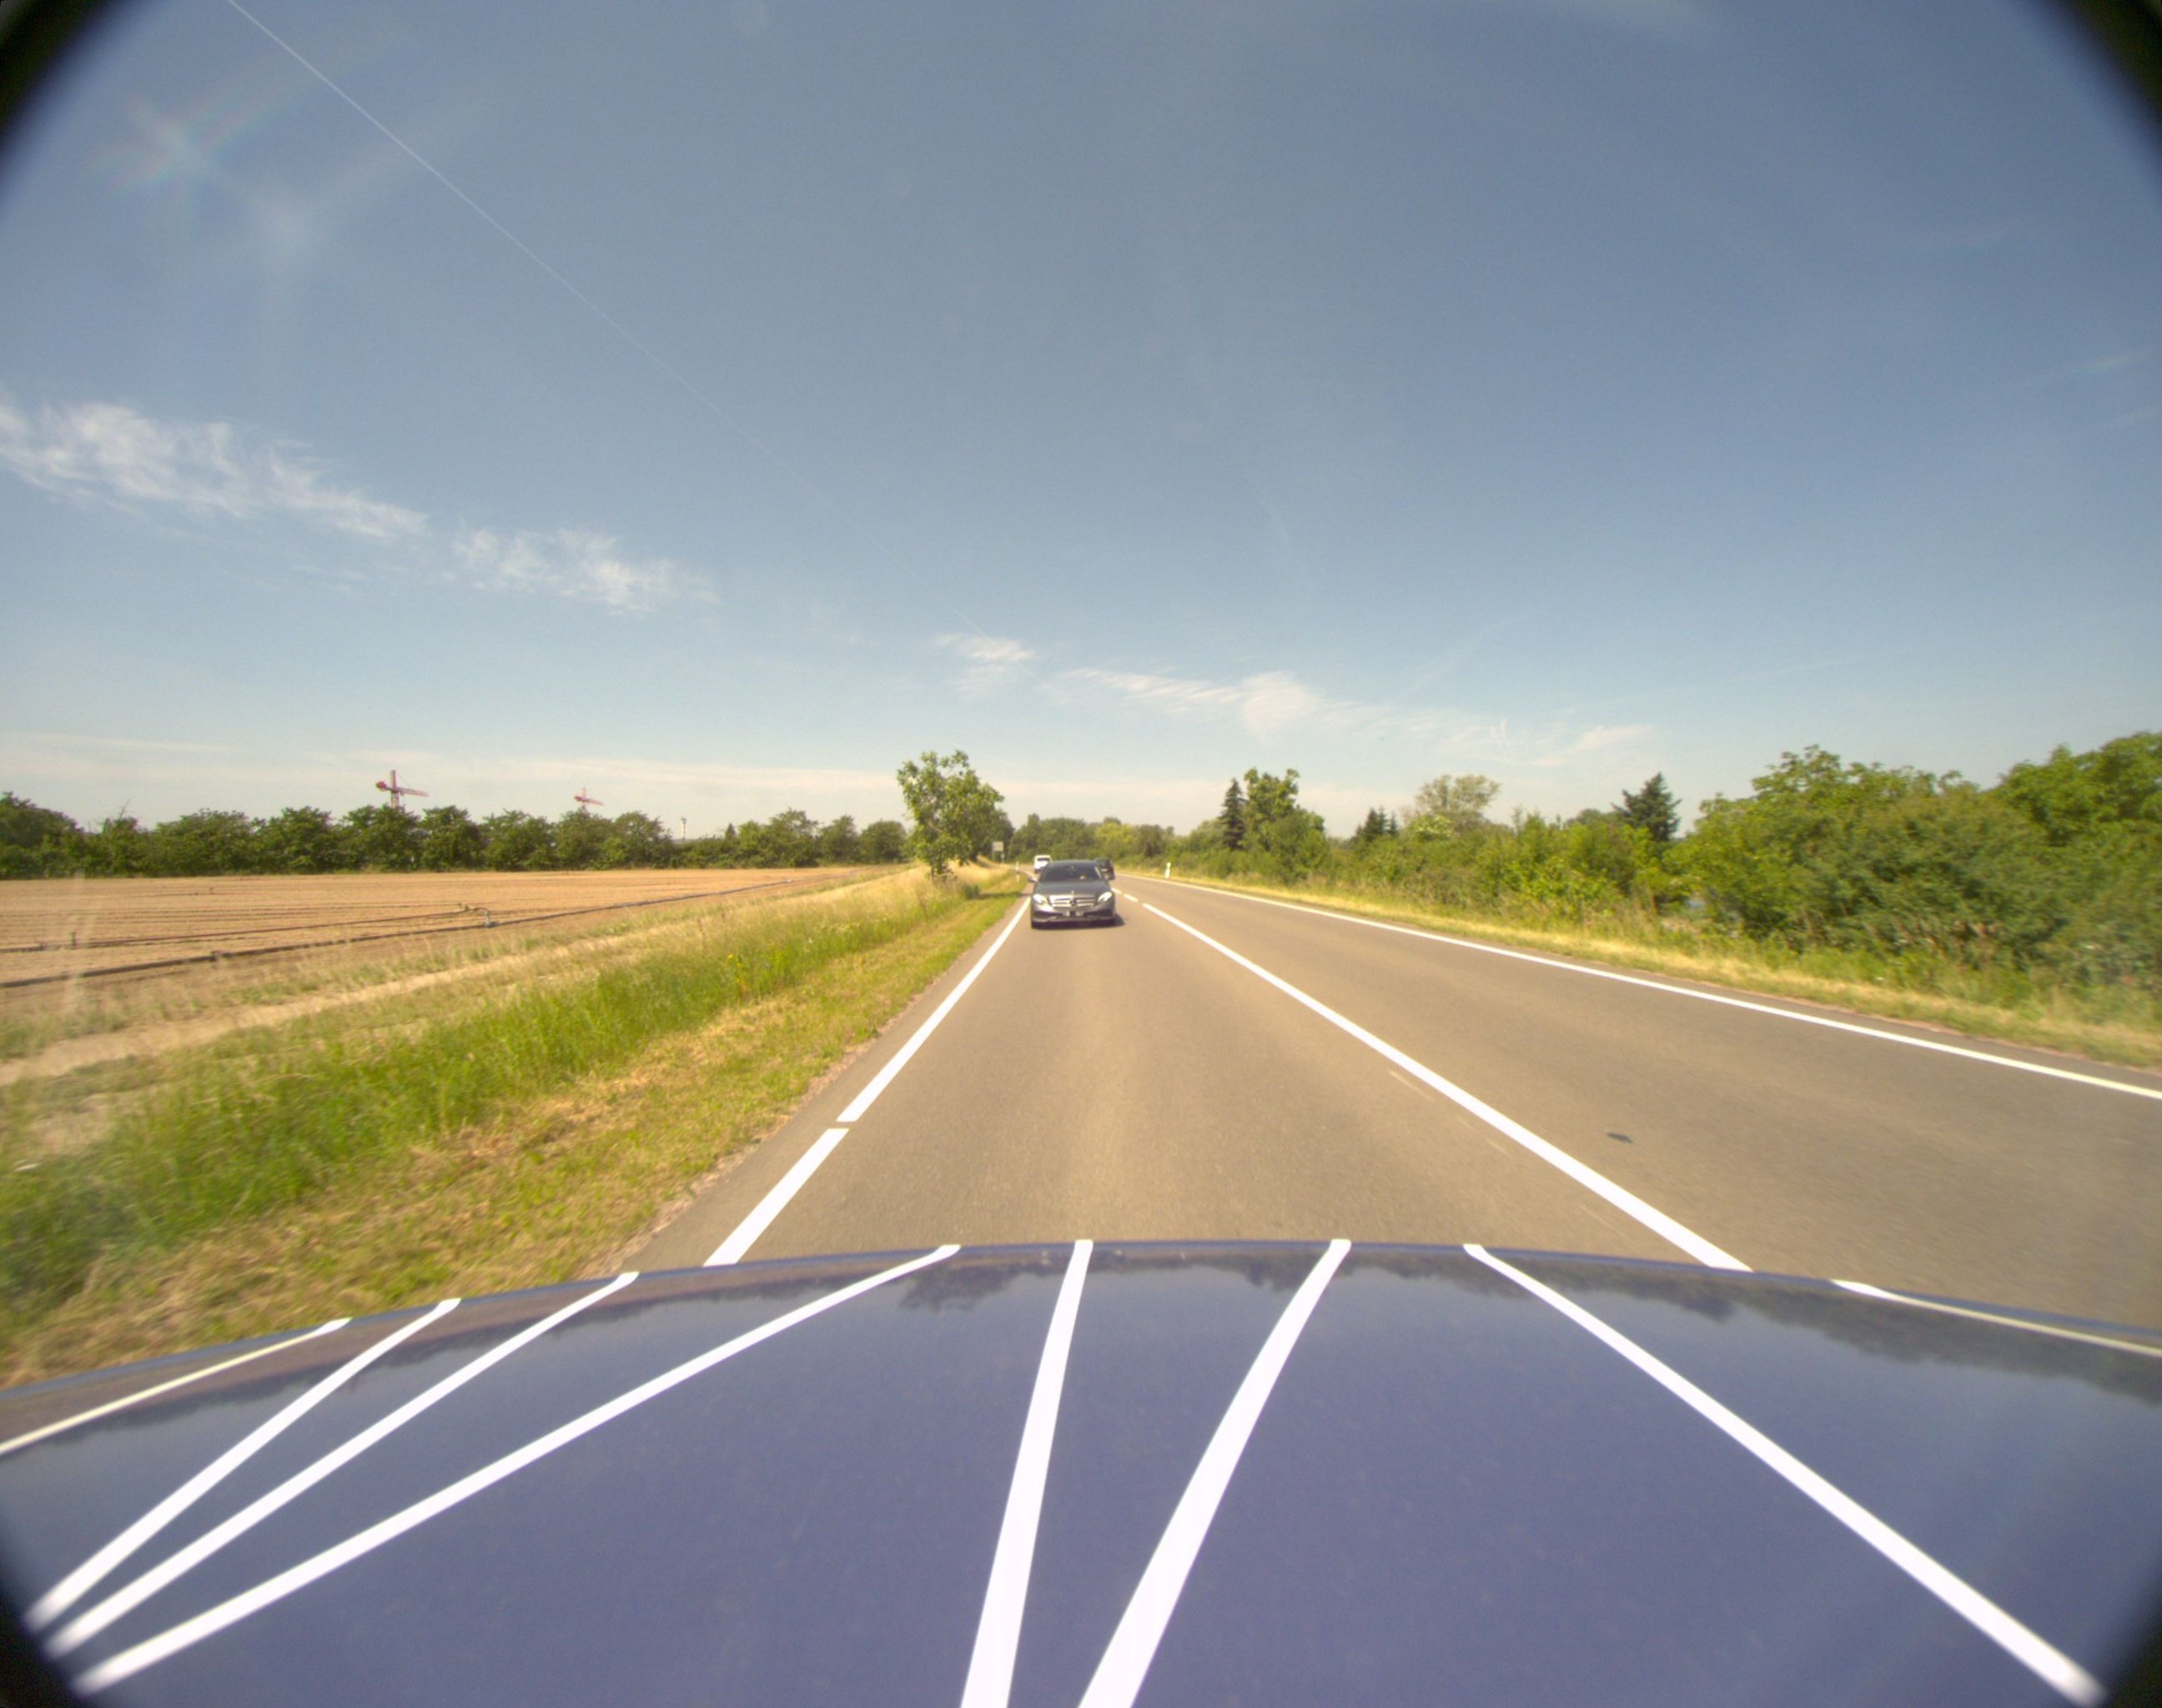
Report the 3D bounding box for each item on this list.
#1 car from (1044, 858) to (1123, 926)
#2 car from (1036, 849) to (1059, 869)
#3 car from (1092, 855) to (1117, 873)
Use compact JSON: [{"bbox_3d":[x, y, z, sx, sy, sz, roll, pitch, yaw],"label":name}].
[{"bbox_3d":[-0.026,0.899,20.160,1.832,1.540,4.497,-2,0,-2],"label":"car"},{"bbox_3d":[-3.670,0.534,82.634,2.180,2.002,5.023,-3,0,-5],"label":"car"},{"bbox_3d":[1.922,0.843,63.596,1.697,1.355,3.824,-2,1,-3],"label":"car"}]
